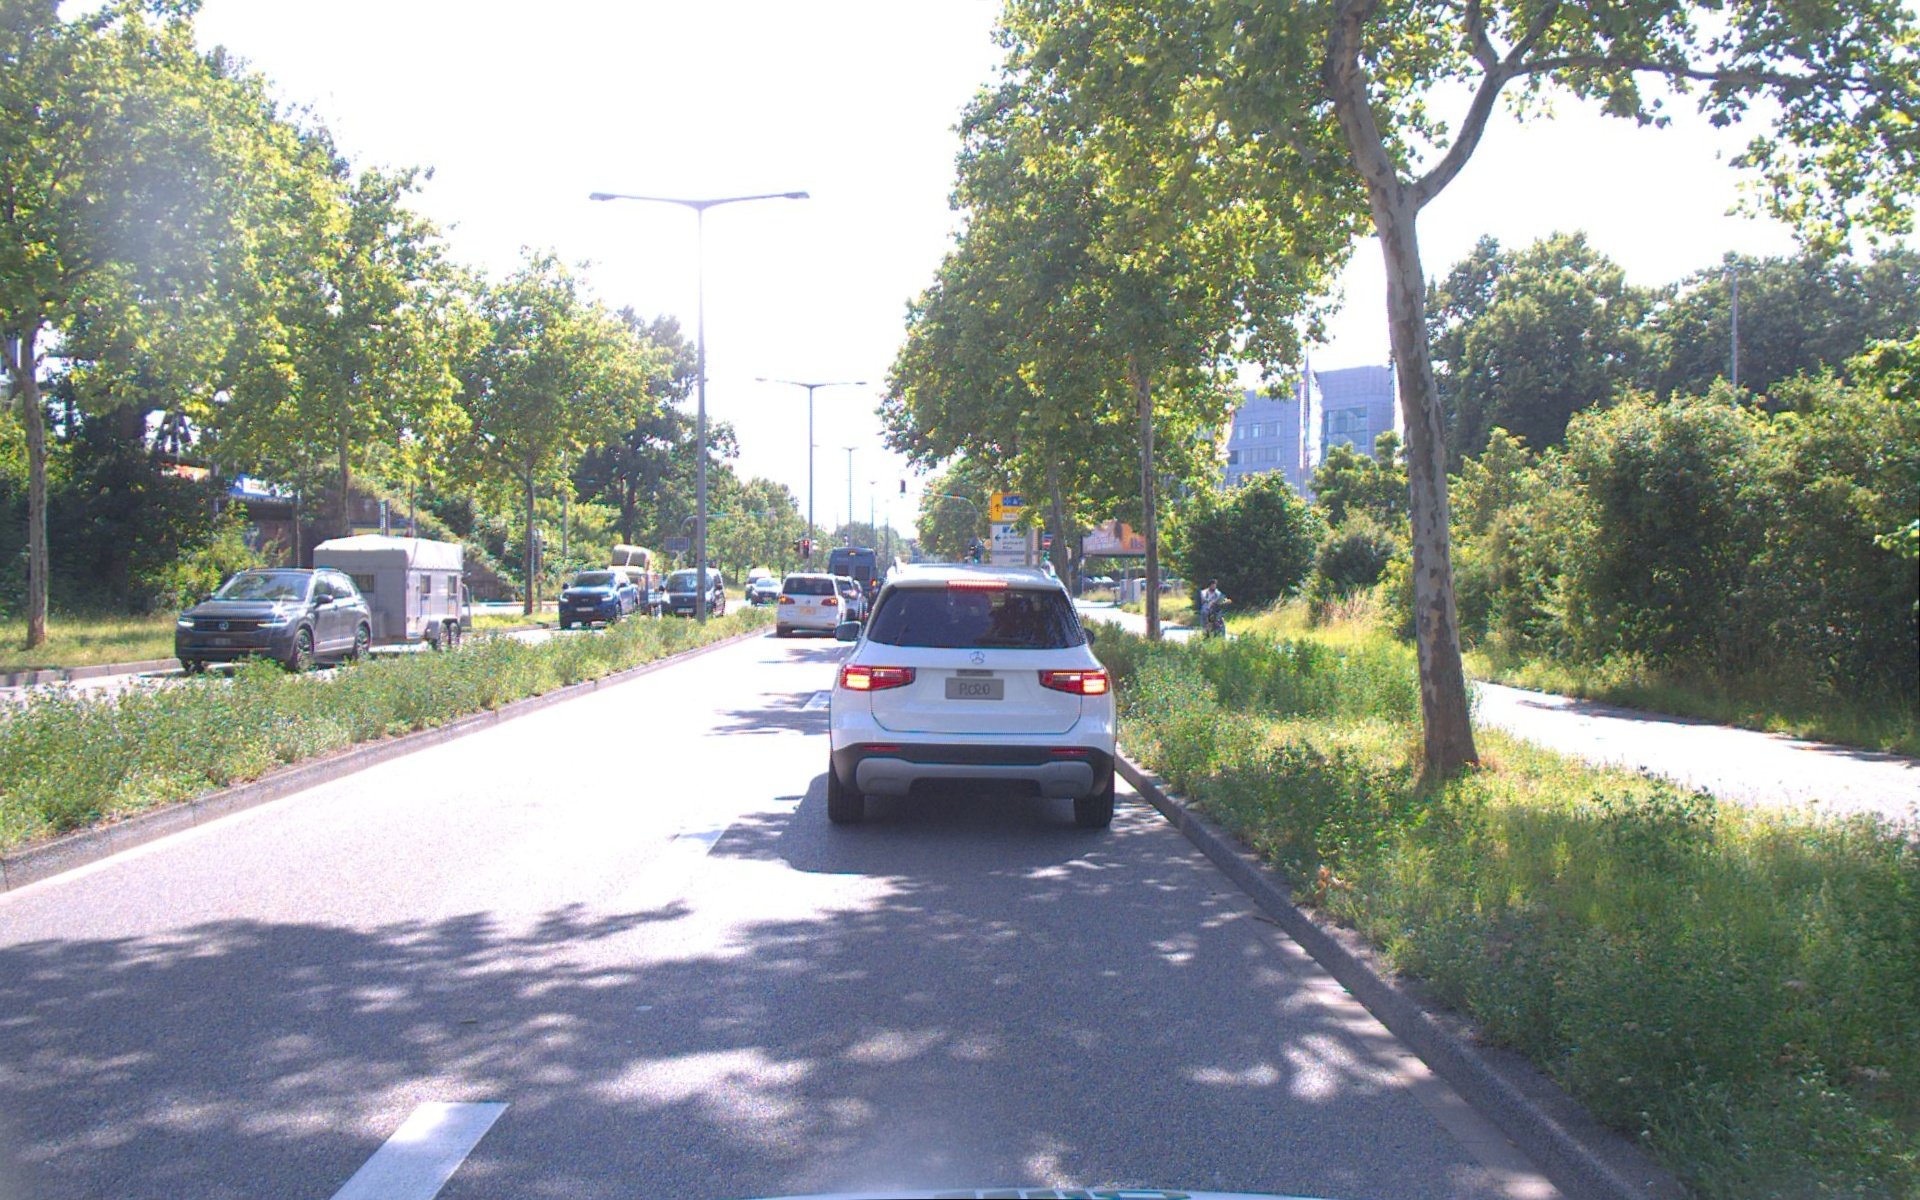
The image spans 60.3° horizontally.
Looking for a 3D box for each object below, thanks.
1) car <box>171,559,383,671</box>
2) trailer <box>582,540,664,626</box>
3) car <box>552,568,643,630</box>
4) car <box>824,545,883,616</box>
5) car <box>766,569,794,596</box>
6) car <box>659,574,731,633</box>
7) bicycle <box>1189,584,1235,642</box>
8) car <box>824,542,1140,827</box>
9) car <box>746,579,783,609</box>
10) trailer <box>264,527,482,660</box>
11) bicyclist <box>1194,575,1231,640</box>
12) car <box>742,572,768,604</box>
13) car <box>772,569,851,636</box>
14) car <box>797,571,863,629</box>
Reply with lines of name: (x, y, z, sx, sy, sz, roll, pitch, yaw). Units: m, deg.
car: (-10.960, 0.212, 26.885, 1.680, 1.650, 4.360, 0, 0, -1)
trailer: (-11.606, -0.572, 57.263, 1.842, 2.791, 4.828, 2, 0, -1)
car: (-11.552, -0.055, 52.977, 1.728, 1.821, 5.375, 2, 0, -1)
car: (-4.267, -0.760, 66.667, 2.039, 2.703, 4.873, 2, 0, -1)
car: (-13.367, -1.306, 123.037, 1.954, 1.914, 3.996, 2, 0, -5)
car: (-8.757, 0.089, 55.000, 1.695, 1.840, 4.231, 2, 0, -1)
bicycle: (5.893, 0.289, 38.804, 0.708, 1.321, 2.095, 1, 0, -1)
car: (0.106, 0.467, 11.516, 1.816, 1.635, 4.000, 0, 1, -1)
car: (-10.459, -0.329, 88.722, 1.570, 1.497, 3.789, 1, 0, -1)
trailer: (-11.121, -0.132, 31.845, 2.262, 2.305, 5.537, 0, 0, -1)
bicyclist: (5.914, 0.168, 38.799, 0.690, 1.503, 1.009, 1, 0, -1)
car: (-16.044, -0.948, 129.557, 1.956, 2.460, 5.132, 1, 1, -7)
car: (-3.943, 0.047, 44.528, 1.735, 1.676, 4.351, 1, 0, -1)
car: (-3.945, -0.015, 50.695, 1.735, 1.676, 4.084, 1, 0, -1)
